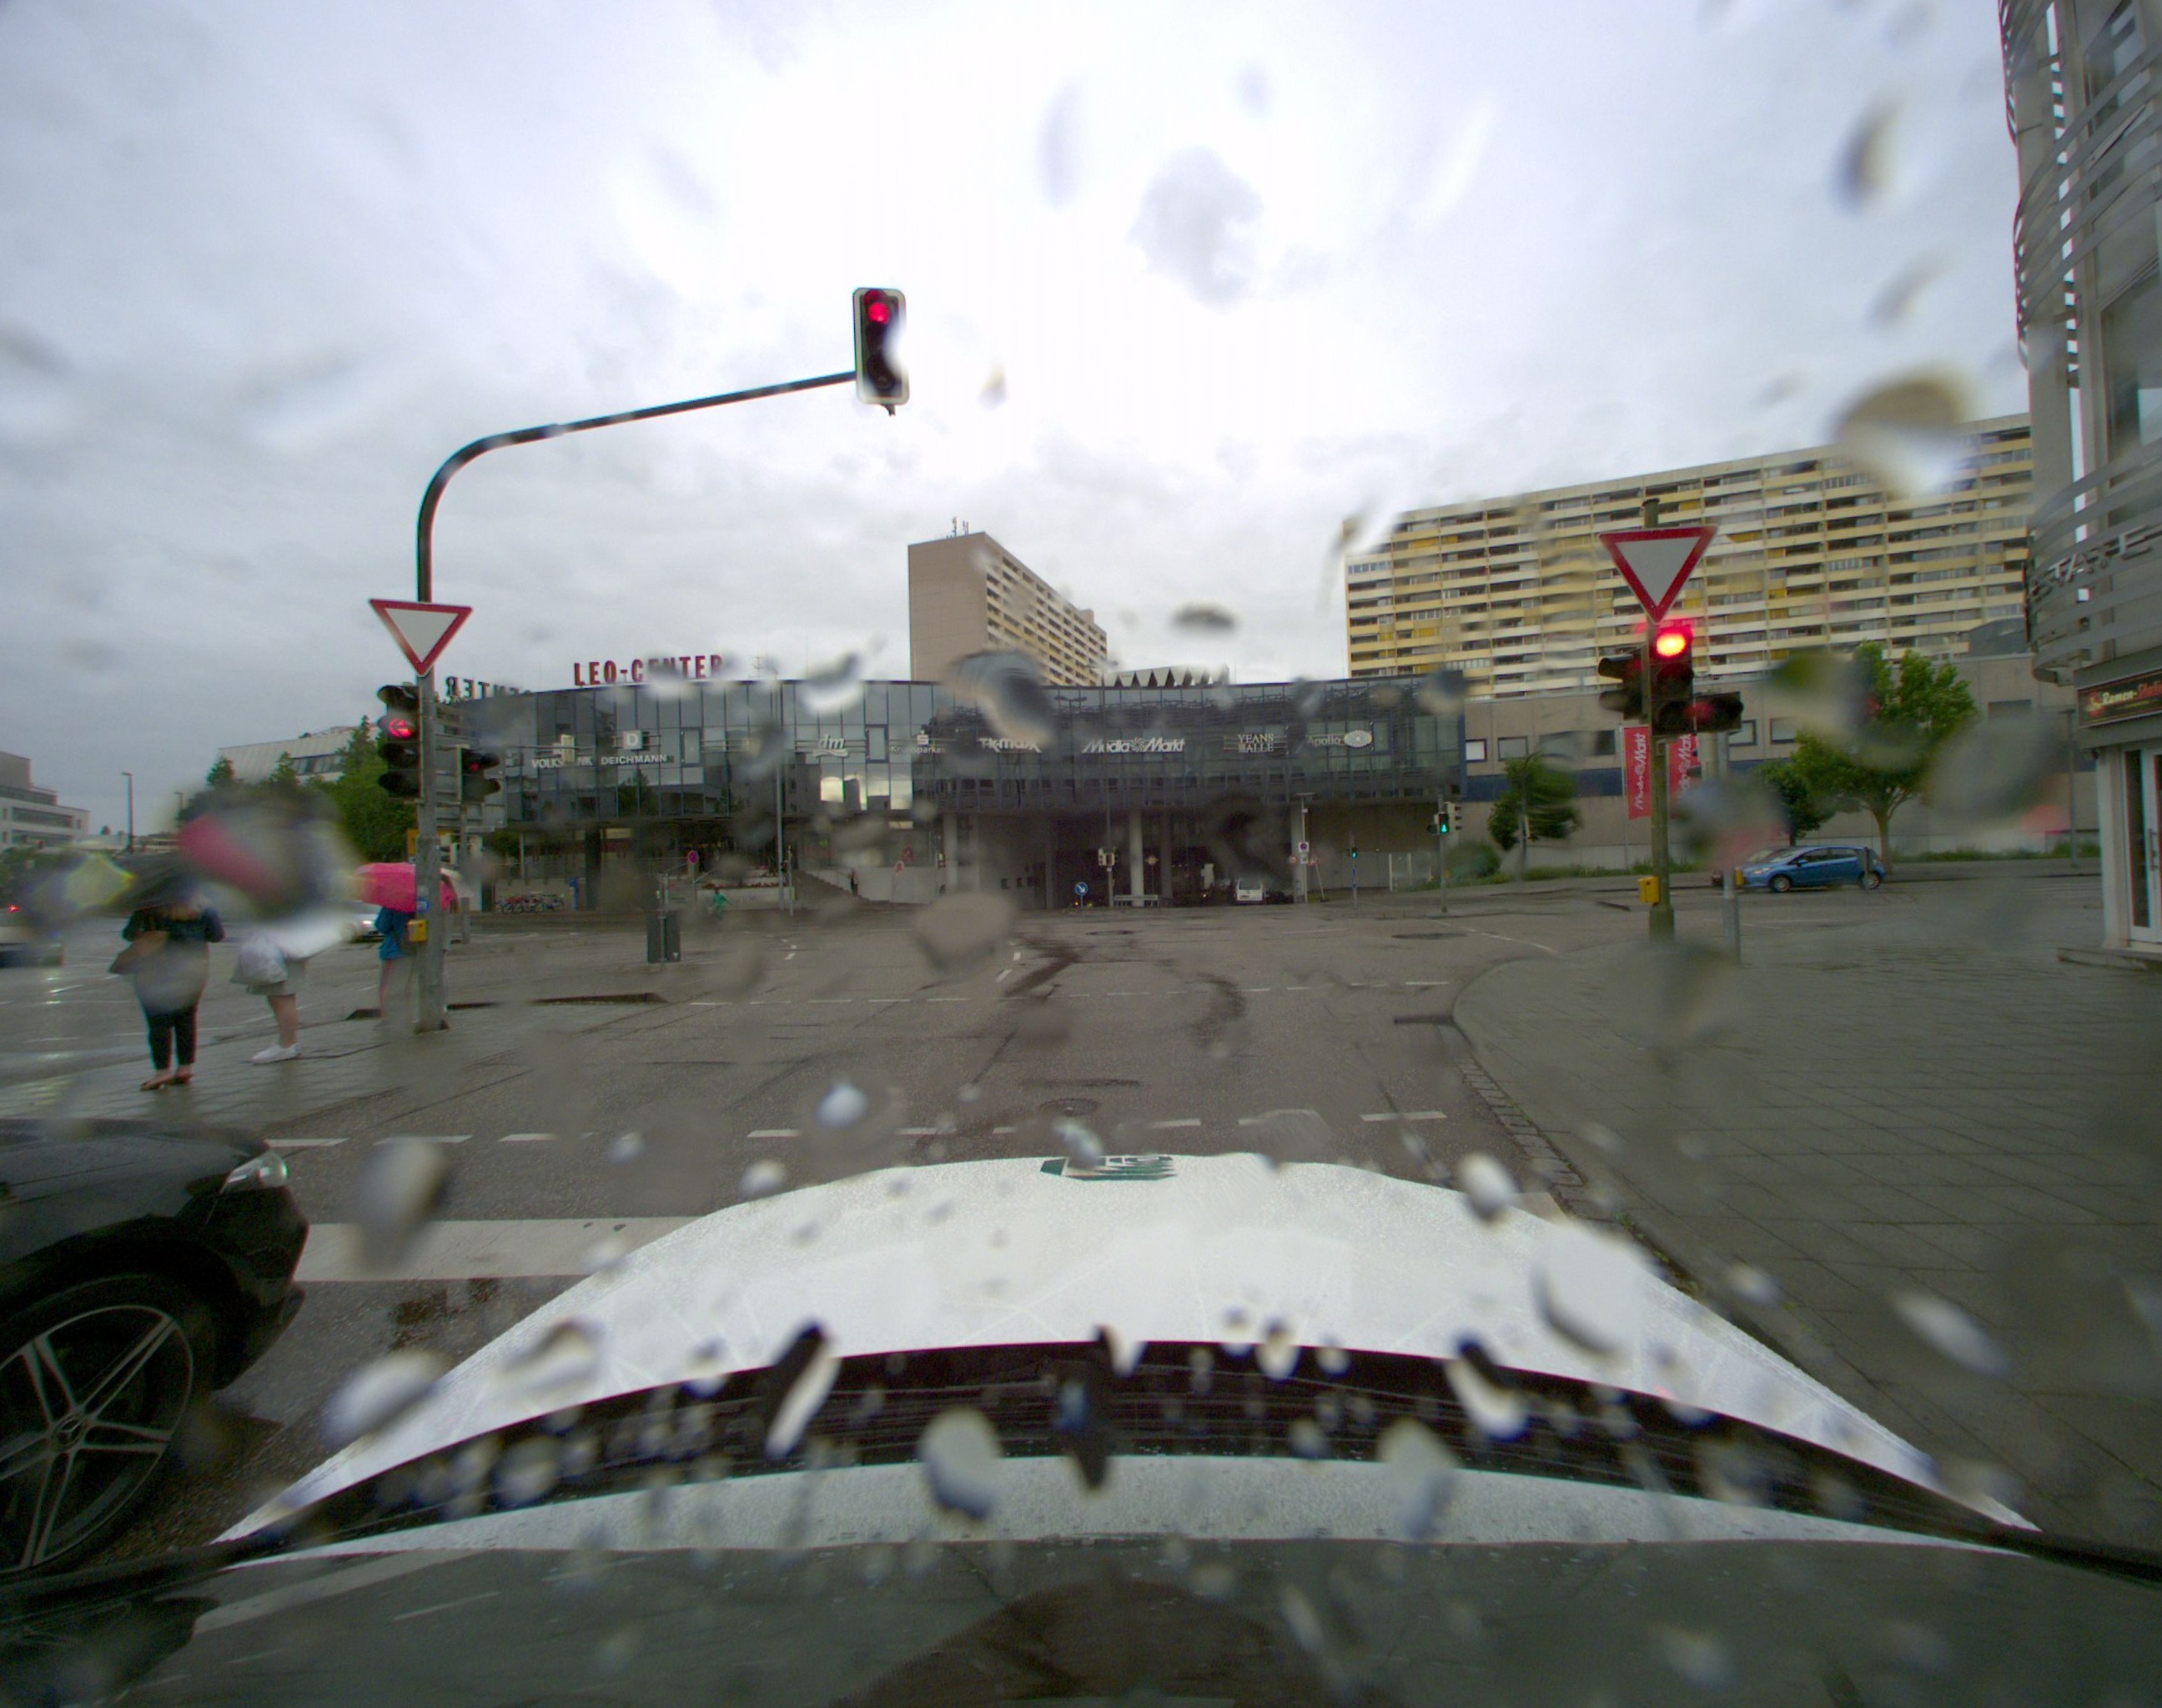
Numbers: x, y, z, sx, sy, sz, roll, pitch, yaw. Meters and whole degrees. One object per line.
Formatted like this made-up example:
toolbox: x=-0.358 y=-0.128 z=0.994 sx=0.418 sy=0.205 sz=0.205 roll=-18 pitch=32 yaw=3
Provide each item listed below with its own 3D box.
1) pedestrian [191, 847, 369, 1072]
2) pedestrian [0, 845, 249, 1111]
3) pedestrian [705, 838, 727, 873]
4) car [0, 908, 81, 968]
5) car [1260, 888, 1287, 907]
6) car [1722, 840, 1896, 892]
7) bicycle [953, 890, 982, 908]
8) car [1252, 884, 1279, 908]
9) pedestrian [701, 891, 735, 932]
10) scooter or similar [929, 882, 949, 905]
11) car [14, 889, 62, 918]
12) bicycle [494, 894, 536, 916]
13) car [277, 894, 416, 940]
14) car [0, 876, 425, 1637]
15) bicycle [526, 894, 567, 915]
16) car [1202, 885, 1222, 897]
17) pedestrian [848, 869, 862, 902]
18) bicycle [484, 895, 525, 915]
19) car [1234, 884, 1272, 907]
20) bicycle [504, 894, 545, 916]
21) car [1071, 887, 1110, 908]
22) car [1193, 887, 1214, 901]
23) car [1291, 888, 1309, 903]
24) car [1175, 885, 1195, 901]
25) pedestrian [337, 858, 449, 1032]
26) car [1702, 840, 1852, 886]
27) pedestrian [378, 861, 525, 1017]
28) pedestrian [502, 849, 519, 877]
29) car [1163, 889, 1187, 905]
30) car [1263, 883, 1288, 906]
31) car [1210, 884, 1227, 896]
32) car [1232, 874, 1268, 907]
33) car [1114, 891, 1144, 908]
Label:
pedestrian: x=-6.889 y=0.837 z=7.007 sx=1.123 sy=1.744 sz=0.865 roll=-3 pitch=-1 yaw=34
pedestrian: x=-6.963 y=0.835 z=5.984 sx=0.956 sy=1.736 sz=0.829 roll=-2 pitch=-2 yaw=-28
pedestrian: x=-21.188 y=0.107 z=47.253 sx=0.828 sy=2.014 sz=0.951 roll=0 pitch=-1 yaw=-2
car: x=-28.236 y=2.170 z=21.153 sx=5.079 sy=1.414 sz=2.136 roll=-3 pitch=-2 yaw=31
car: x=15.635 y=3.541 z=65.905 sx=1.765 sy=1.400 sz=4.017 roll=-3 pitch=-4 yaw=17
car: x=23.453 y=0.404 z=26.372 sx=3.819 sy=1.397 sz=1.684 roll=-3 pitch=-2 yaw=10
bicycle: x=-6.834 y=2.717 z=49.012 sx=1.591 sy=1.018 sz=0.448 roll=5 pitch=-4 yaw=-29
car: x=13.822 y=3.125 z=60.816 sx=1.620 sy=1.612 sz=4.279 roll=-3 pitch=-3 yaw=16
pedestrian: x=-15.052 y=2.389 z=33.792 sx=0.940 sy=1.623 sz=0.814 roll=-3 pitch=-1 yaw=25
scooter or similar: x=-8.464 y=2.337 z=48.531 sx=1.167 sy=1.373 sz=0.487 roll=0 pitch=-1 yaw=-13
car: x=-75.155 y=3.517 z=58.680 sx=4.085 sy=1.896 sz=2.062 roll=-1 pitch=-1 yaw=38
bicycle: x=-32.380 y=2.896 z=46.617 sx=0.621 sy=1.033 sz=1.865 roll=-3 pitch=1 yaw=20
car: x=-25.829 y=2.203 z=28.666 sx=3.949 sy=1.441 sz=1.754 roll=-2 pitch=-1 yaw=16
car: x=-2.992 y=0.828 z=0.608 sx=1.657 sy=1.481 sz=4.094 roll=0 pitch=0 yaw=0
bicycle: x=-30.083 y=2.827 z=45.895 sx=0.625 sy=1.023 sz=1.864 roll=-3 pitch=1 yaw=20
car: x=17.618 y=4.970 z=109.196 sx=1.978 sy=1.464 sz=4.018 roll=-3 pitch=-2 yaw=17
pedestrian: x=-13.106 y=1.834 z=47.253 sx=0.655 sy=1.908 sz=0.593 roll=-1 pitch=-1 yaw=-6
bicycle: x=-33.066 y=2.935 z=46.756 sx=0.529 sy=0.951 sz=1.865 roll=-1 pitch=2 yaw=23
car: x=11.881 y=2.852 z=56.058 sx=1.742 sy=1.464 sz=3.963 roll=-3 pitch=-5 yaw=23
bicycle: x=-31.670 y=2.883 z=46.373 sx=0.640 sy=1.042 sz=1.865 roll=-3 pitch=1 yaw=20
car: x=0.778 y=3.369 z=62.610 sx=1.877 sy=1.470 sz=4.044 roll=-2 pitch=-5 yaw=18
car: x=15.267 y=4.980 z=101.611 sx=1.978 sy=1.664 sz=4.018 roll=-1 pitch=-1 yaw=17
car: x=24.289 y=4.570 z=90.414 sx=1.874 sy=1.491 sz=3.856 roll=-1 pitch=-1 yaw=16
car: x=12.271 y=4.529 z=95.901 sx=1.823 sy=1.728 sz=4.014 roll=-2 pitch=-1 yaw=13
pedestrian: x=-7.138 y=0.900 z=8.456 sx=0.665 sy=1.685 sz=0.811 roll=-4 pitch=-2 yaw=45
car: x=24.861 y=0.326 z=29.229 sx=3.660 sy=1.395 sz=1.750 roll=-3 pitch=-2 yaw=11
pedestrian: x=-7.210 y=0.934 z=9.373 sx=0.932 sy=1.677 sz=0.917 roll=-2 pitch=-1 yaw=1
pedestrian: x=-35.053 y=0.558 z=50.052 sx=0.592 sy=1.714 sz=0.658 roll=-1 pitch=-1 yaw=25
car: x=10.530 y=4.773 z=91.134 sx=1.899 sy=1.588 sz=3.957 roll=-3 pitch=-2 yaw=17
car: x=16.890 y=3.499 z=70.602 sx=1.777 sy=1.771 sz=4.017 roll=-3 pitch=-2 yaw=17
car: x=19.334 y=5.039 z=114.239 sx=1.979 sy=1.464 sz=4.016 roll=-3 pitch=-2 yaw=15
car: x=10.117 y=2.158 z=48.505 sx=1.912 sy=1.798 sz=4.310 roll=-2 pitch=-3 yaw=13
car: x=4.439 y=4.134 z=74.421 sx=1.756 sy=1.464 sz=3.892 roll=-3 pitch=-4 yaw=17
